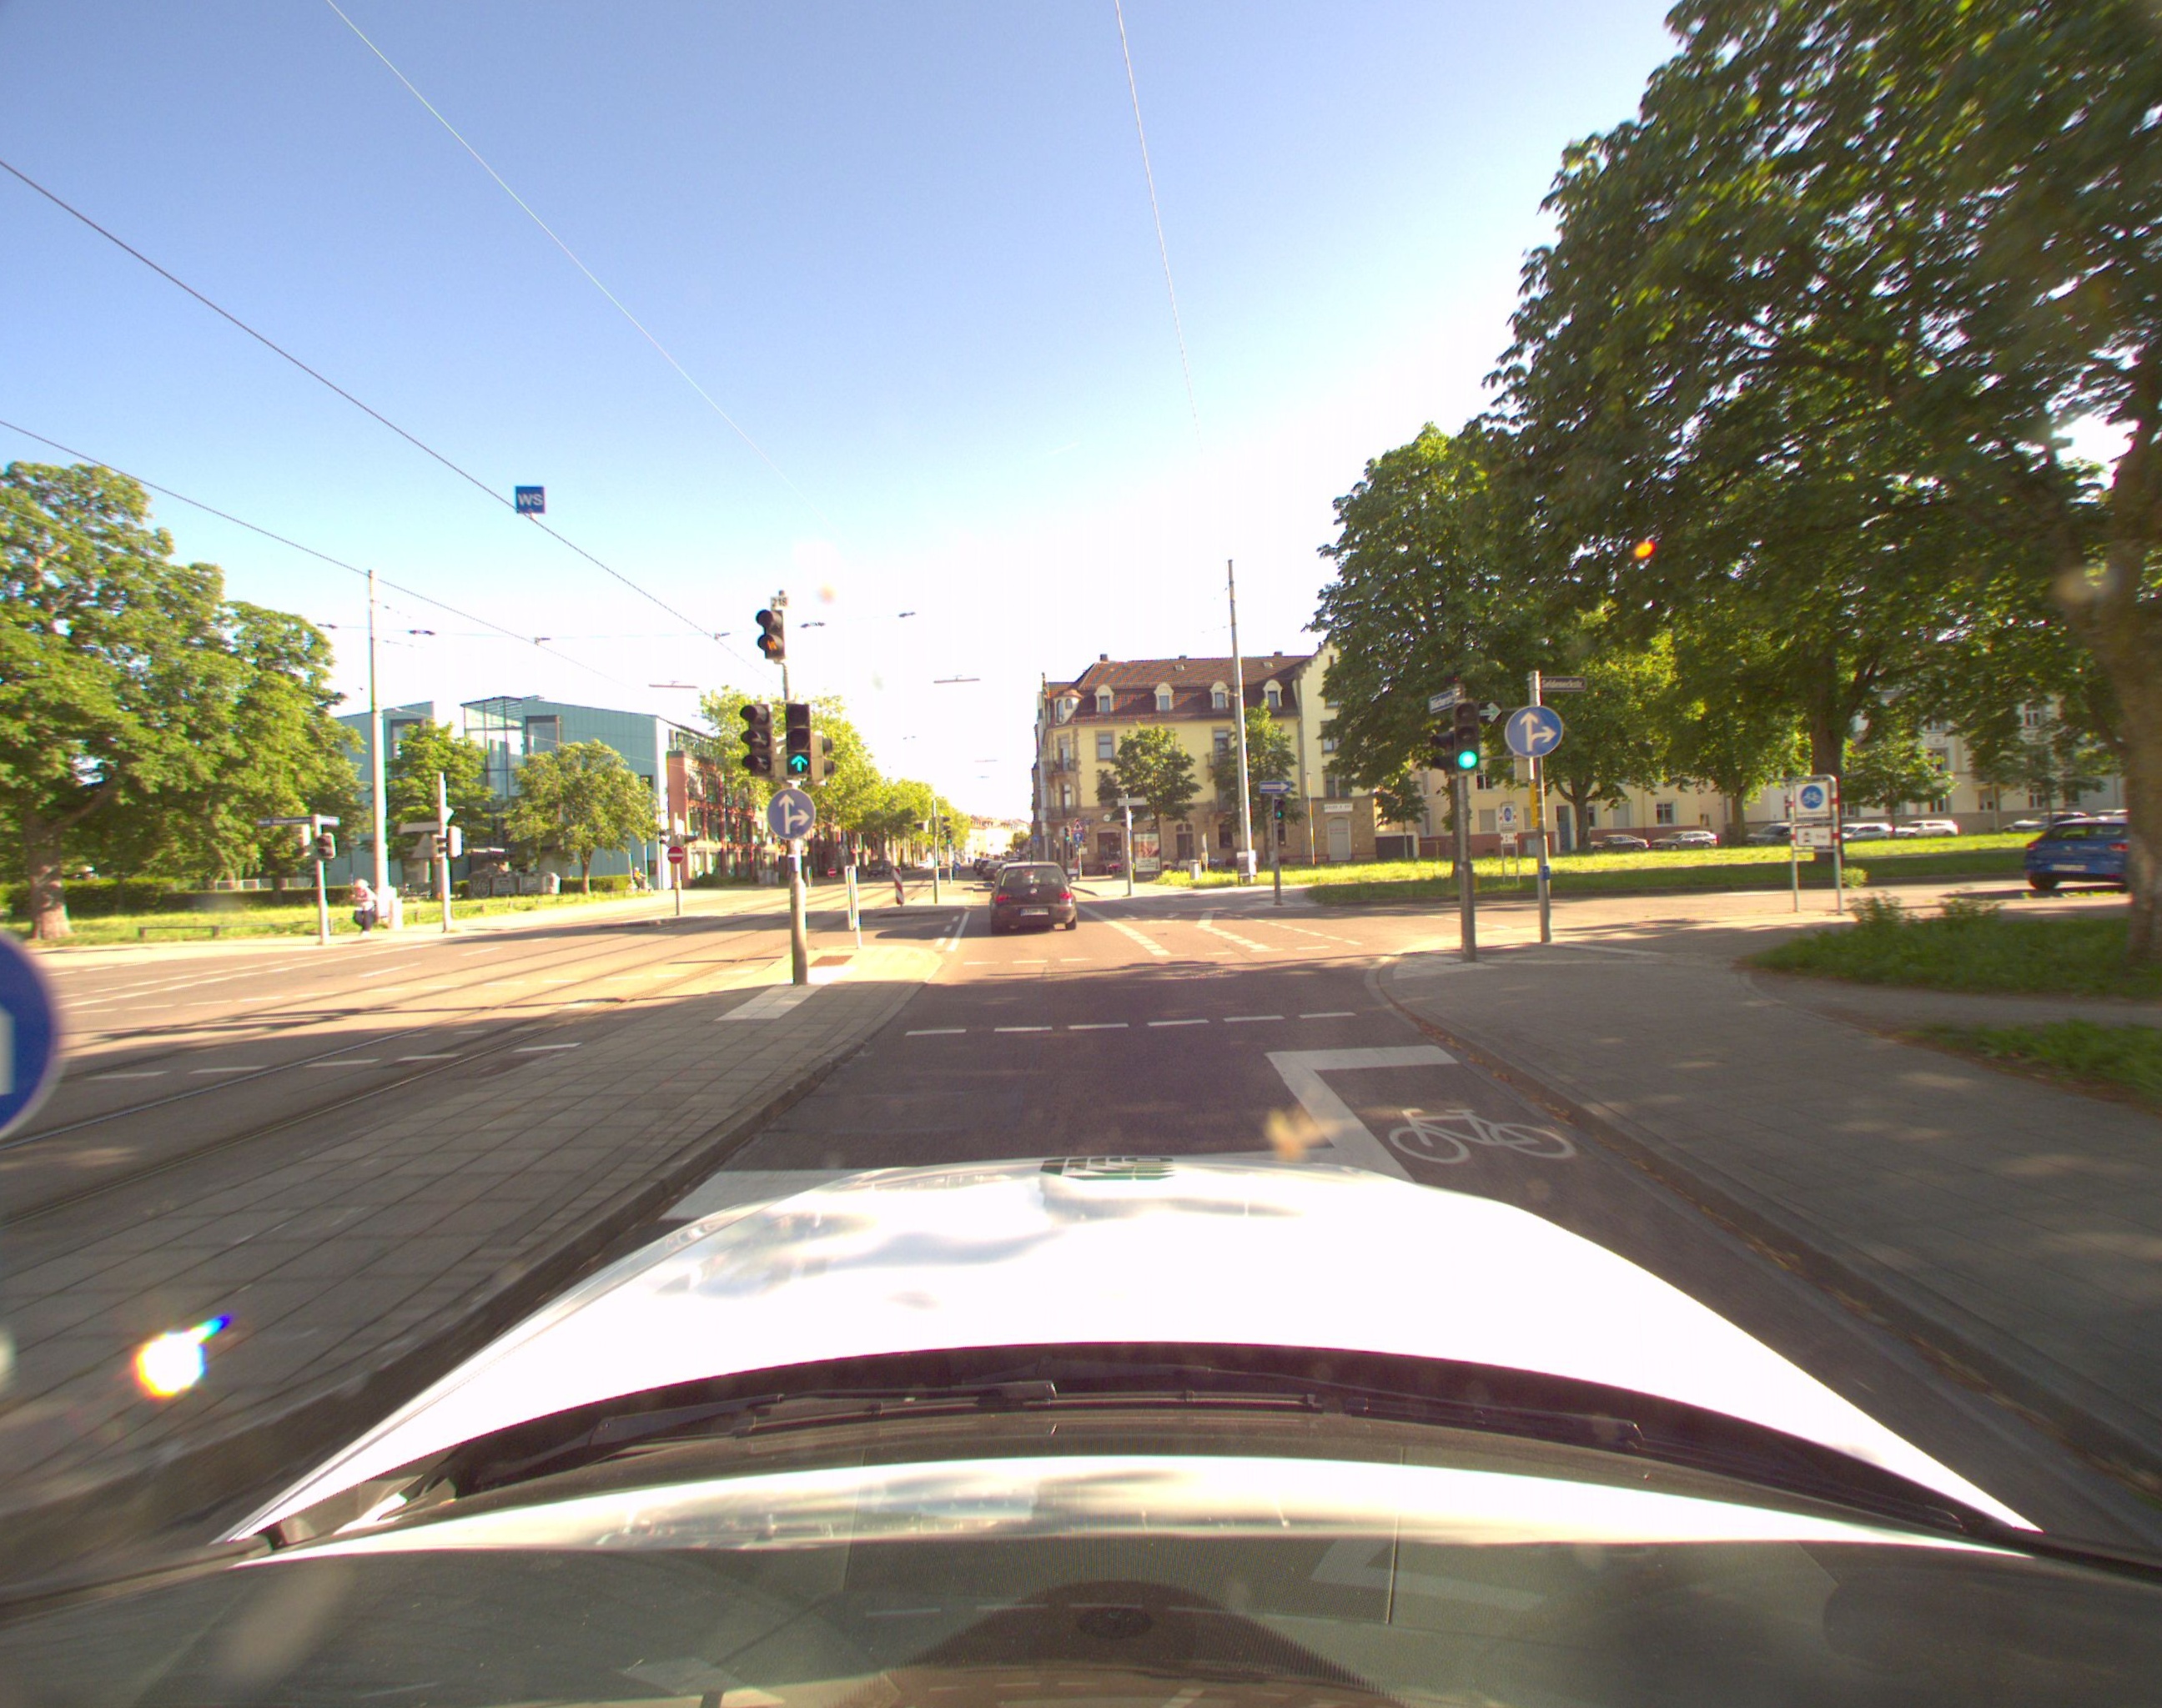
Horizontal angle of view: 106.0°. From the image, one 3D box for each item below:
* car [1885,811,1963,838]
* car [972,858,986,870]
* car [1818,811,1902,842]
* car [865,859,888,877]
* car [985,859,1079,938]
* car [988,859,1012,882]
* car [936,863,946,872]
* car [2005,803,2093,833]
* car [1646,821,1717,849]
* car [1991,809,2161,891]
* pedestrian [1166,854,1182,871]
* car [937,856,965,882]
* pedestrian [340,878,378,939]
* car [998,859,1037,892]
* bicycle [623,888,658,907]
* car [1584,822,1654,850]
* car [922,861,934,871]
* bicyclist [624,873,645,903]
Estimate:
[{"bbox_3d":[63.127,-2.209,61.010,4.087,1.816,1.759,-3,0,-2],"label":"car"},{"bbox_3d":[-13.271,1.308,106.315,1.679,1.453,3.372,-3,0,-6],"label":"car"},{"bbox_3d":[52.035,-1.828,54.467,3.985,1.816,1.759,-3,0,-2],"label":"car"},{"bbox_3d":[-22.187,1.463,88.470,1.971,1.815,4.284,-3,0,-8],"label":"car"},{"bbox_3d":[-1.050,0.848,17.381,1.713,1.402,4.000,-2,0,-4],"label":"car"},{"bbox_3d":[-5.635,1.147,56.422,1.568,1.311,3.639,-3,2,-6],"label":"car"},{"bbox_3d":[-34.928,3.313,202.930,1.991,2.014,3.992,-2,-1,-5],"label":"car"},{"bbox_3d":[66.022,-2.428,55.561,3.985,1.816,1.759,-3,0,-2],"label":"car"},{"bbox_3d":[44.252,-1.405,60.049,3.946,1.816,1.759,-3,0,-2],"label":"car"},{"bbox_3d":[20.892,-0.130,16.018,3.974,1.449,1.790,-3,0,0],"label":"car"},{"bbox_3d":[6.940,0.615,60.807,0.978,1.187,0.742,-3,0,-5],"label":"pedestrian"},{"bbox_3d":[-9.784,1.096,61.538,1.785,1.860,3.992,-2,0,-6],"label":"car"},{"bbox_3d":[-20.765,1.546,23.439,0.612,1.689,0.728,0,0,-23],"label":"pedestrian"},{"bbox_3d":[-2.929,0.970,38.050,1.631,1.372,3.752,-3,0,-3],"label":"car"},{"bbox_3d":[-28.978,2.868,53.646,1.927,1.106,0.556,-3,0,-39],"label":"bicycle"},{"bbox_3d":[39.425,-1.310,59.743,3.946,1.816,1.759,-3,0,-2],"label":"car"},{"bbox_3d":[-31.683,2.545,168.334,1.991,2.014,3.992,-2,-1,-5],"label":"car"},{"bbox_3d":[-29.278,2.203,53.425,1.109,1.885,0.445,-2,-1,-38],"label":"bicyclist"}]
